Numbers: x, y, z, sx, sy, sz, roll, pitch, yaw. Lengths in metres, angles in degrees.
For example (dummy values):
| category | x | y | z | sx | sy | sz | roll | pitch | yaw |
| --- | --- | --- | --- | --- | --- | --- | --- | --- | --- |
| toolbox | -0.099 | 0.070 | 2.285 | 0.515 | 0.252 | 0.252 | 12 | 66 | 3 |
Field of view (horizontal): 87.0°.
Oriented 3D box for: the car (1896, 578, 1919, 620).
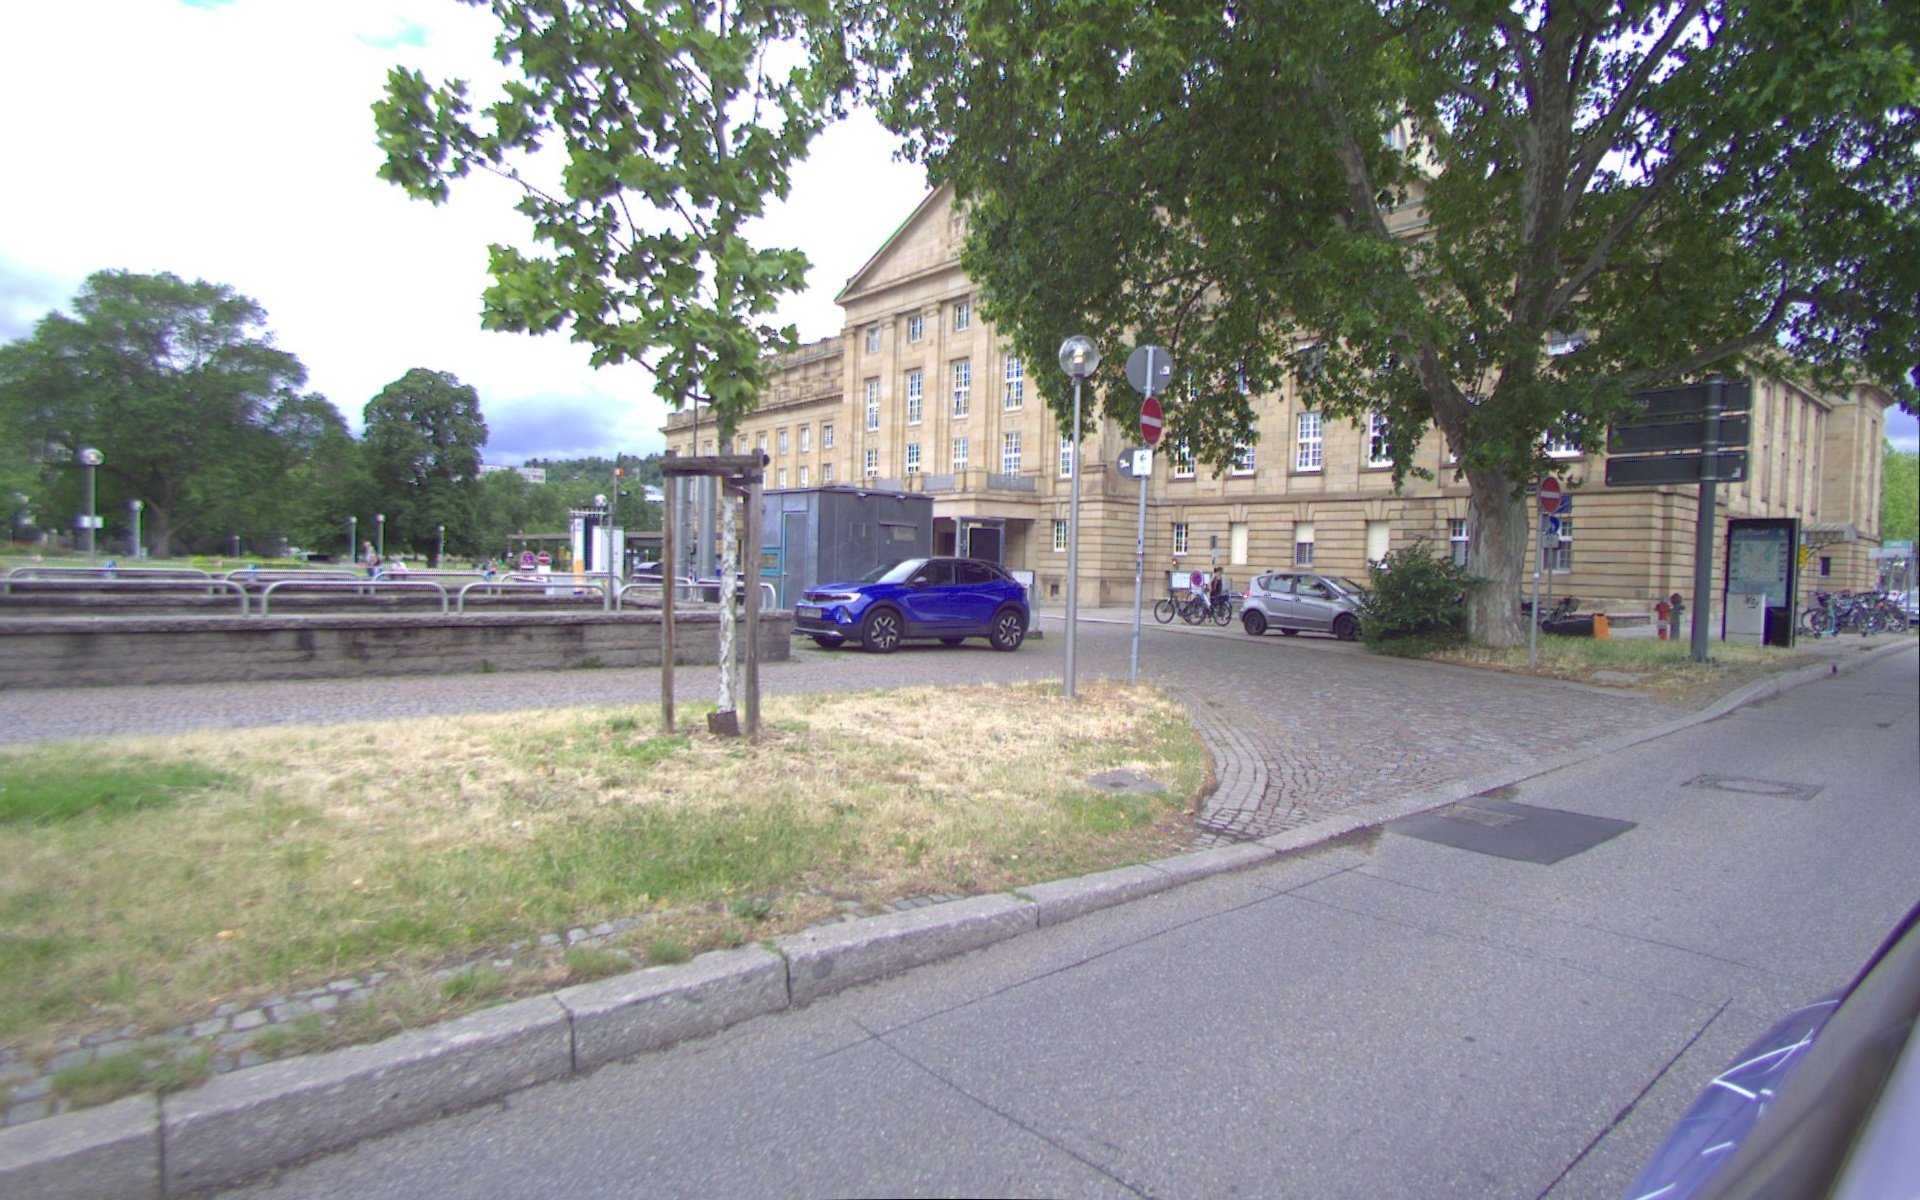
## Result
| category | x | y | z | sx | sy | sz | roll | pitch | yaw |
| --- | --- | --- | --- | --- | --- | --- | --- | --- | --- |
| car | 38.075 | -0.038 | 39.334 | 3.927 | 1.549 | 1.844 | -1 | 3 | -38 |

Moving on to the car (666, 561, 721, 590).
| category | x | y | z | sx | sy | sz | roll | pitch | yaw |
| --- | --- | --- | --- | --- | --- | --- | --- | --- | --- |
| car | -17.240 | -1.571 | 65.455 | 1.964 | 1.738 | 3.995 | -1 | 1 | -39 |

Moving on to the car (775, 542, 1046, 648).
| category | x | y | z | sx | sy | sz | roll | pitch | yaw |
| --- | --- | --- | --- | --- | --- | --- | --- | --- | --- |
| car | -0.741 | -0.065 | 16.593 | 4.139 | 1.536 | 1.769 | 1 | 1 | -38 |

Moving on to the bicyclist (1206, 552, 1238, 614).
| category | x | y | z | sx | sy | sz | roll | pitch | yaw |
| --- | --- | --- | --- | --- | --- | --- | --- | --- | --- |
| bicyclist | 8.750 | -0.559 | 33.796 | 0.869 | 2.039 | 0.837 | -1 | 0 | 25 |

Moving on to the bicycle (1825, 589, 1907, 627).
| category | x | y | z | sx | sy | sz | roll | pitch | yaw |
| --- | --- | --- | --- | --- | --- | --- | --- | --- | --- |
| bicycle | 28.076 | 0.233 | 31.383 | 1.835 | 1.085 | 0.609 | 3 | 2 | 43 |

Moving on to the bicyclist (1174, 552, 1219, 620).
| category | x | y | z | sx | sy | sz | roll | pitch | yaw |
| --- | --- | --- | --- | --- | --- | --- | --- | --- | --- |
| bicyclist | 7.271 | -0.450 | 31.094 | 1.005 | 2.039 | 1.091 | 1 | 1 | 33 |

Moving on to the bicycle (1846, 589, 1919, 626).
| category | x | y | z | sx | sy | sz | roll | pitch | yaw |
| --- | --- | --- | --- | --- | --- | --- | --- | --- | --- |
| bicycle | 28.897 | 0.221 | 31.607 | 1.834 | 1.085 | 0.524 | 3 | 2 | 43 |

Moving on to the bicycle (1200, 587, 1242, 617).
| category | x | y | z | sx | sy | sz | roll | pitch | yaw |
| --- | --- | --- | --- | --- | --- | --- | --- | --- | --- |
| bicycle | 8.724 | 0.057 | 33.731 | 0.907 | 0.942 | 2.657 | -1 | 1 | 25 |

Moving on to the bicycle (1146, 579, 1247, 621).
| category | x | y | z | sx | sy | sz | roll | pitch | yaw |
| --- | --- | --- | --- | --- | --- | --- | --- | --- | --- |
| bicycle | 7.251 | -0.025 | 31.074 | 2.825 | 1.199 | 1.084 | 2 | 2 | 35 |

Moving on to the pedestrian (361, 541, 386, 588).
| category | x | y | z | sx | sy | sz | roll | pitch | yaw |
| --- | --- | --- | --- | --- | --- | --- | --- | --- | --- |
| pedestrian | -25.716 | -1.546 | 44.380 | 0.801 | 2.039 | 0.766 | -2 | 1 | -41 |

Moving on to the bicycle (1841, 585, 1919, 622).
| category | x | y | z | sx | sy | sz | roll | pitch | yaw |
| --- | --- | --- | --- | --- | --- | --- | --- | --- | --- |
| bicycle | 30.614 | 0.099 | 33.626 | 1.922 | 1.146 | 0.535 | 2 | 2 | 31 |

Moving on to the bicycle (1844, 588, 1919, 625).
| category | x | y | z | sx | sy | sz | roll | pitch | yaw |
| --- | --- | --- | --- | --- | --- | --- | --- | --- | --- |
| bicycle | 29.587 | 0.197 | 32.413 | 1.826 | 1.085 | 0.526 | 2 | 2 | 31 |

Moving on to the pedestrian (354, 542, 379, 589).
| category | x | y | z | sx | sy | sz | roll | pitch | yaw |
| --- | --- | --- | --- | --- | --- | --- | --- | --- | --- |
| pedestrian | -26.382 | -1.543 | 44.981 | 0.801 | 2.039 | 0.857 | -2 | 1 | -41 |

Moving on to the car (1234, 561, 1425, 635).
| category | x | y | z | sx | sy | sz | roll | pitch | yaw |
| --- | --- | --- | --- | --- | --- | --- | --- | --- | --- |
| car | 8.803 | -0.060 | 24.359 | 1.704 | 1.616 | 3.994 | -1 | 1 | -40 |

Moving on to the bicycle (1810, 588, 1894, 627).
| category | x | y | z | sx | sy | sz | roll | pitch | yaw |
| --- | --- | --- | --- | --- | --- | --- | --- | --- | --- |
| bicycle | 27.399 | 0.210 | 31.114 | 1.912 | 1.112 | 0.533 | 3 | 2 | 43 |
